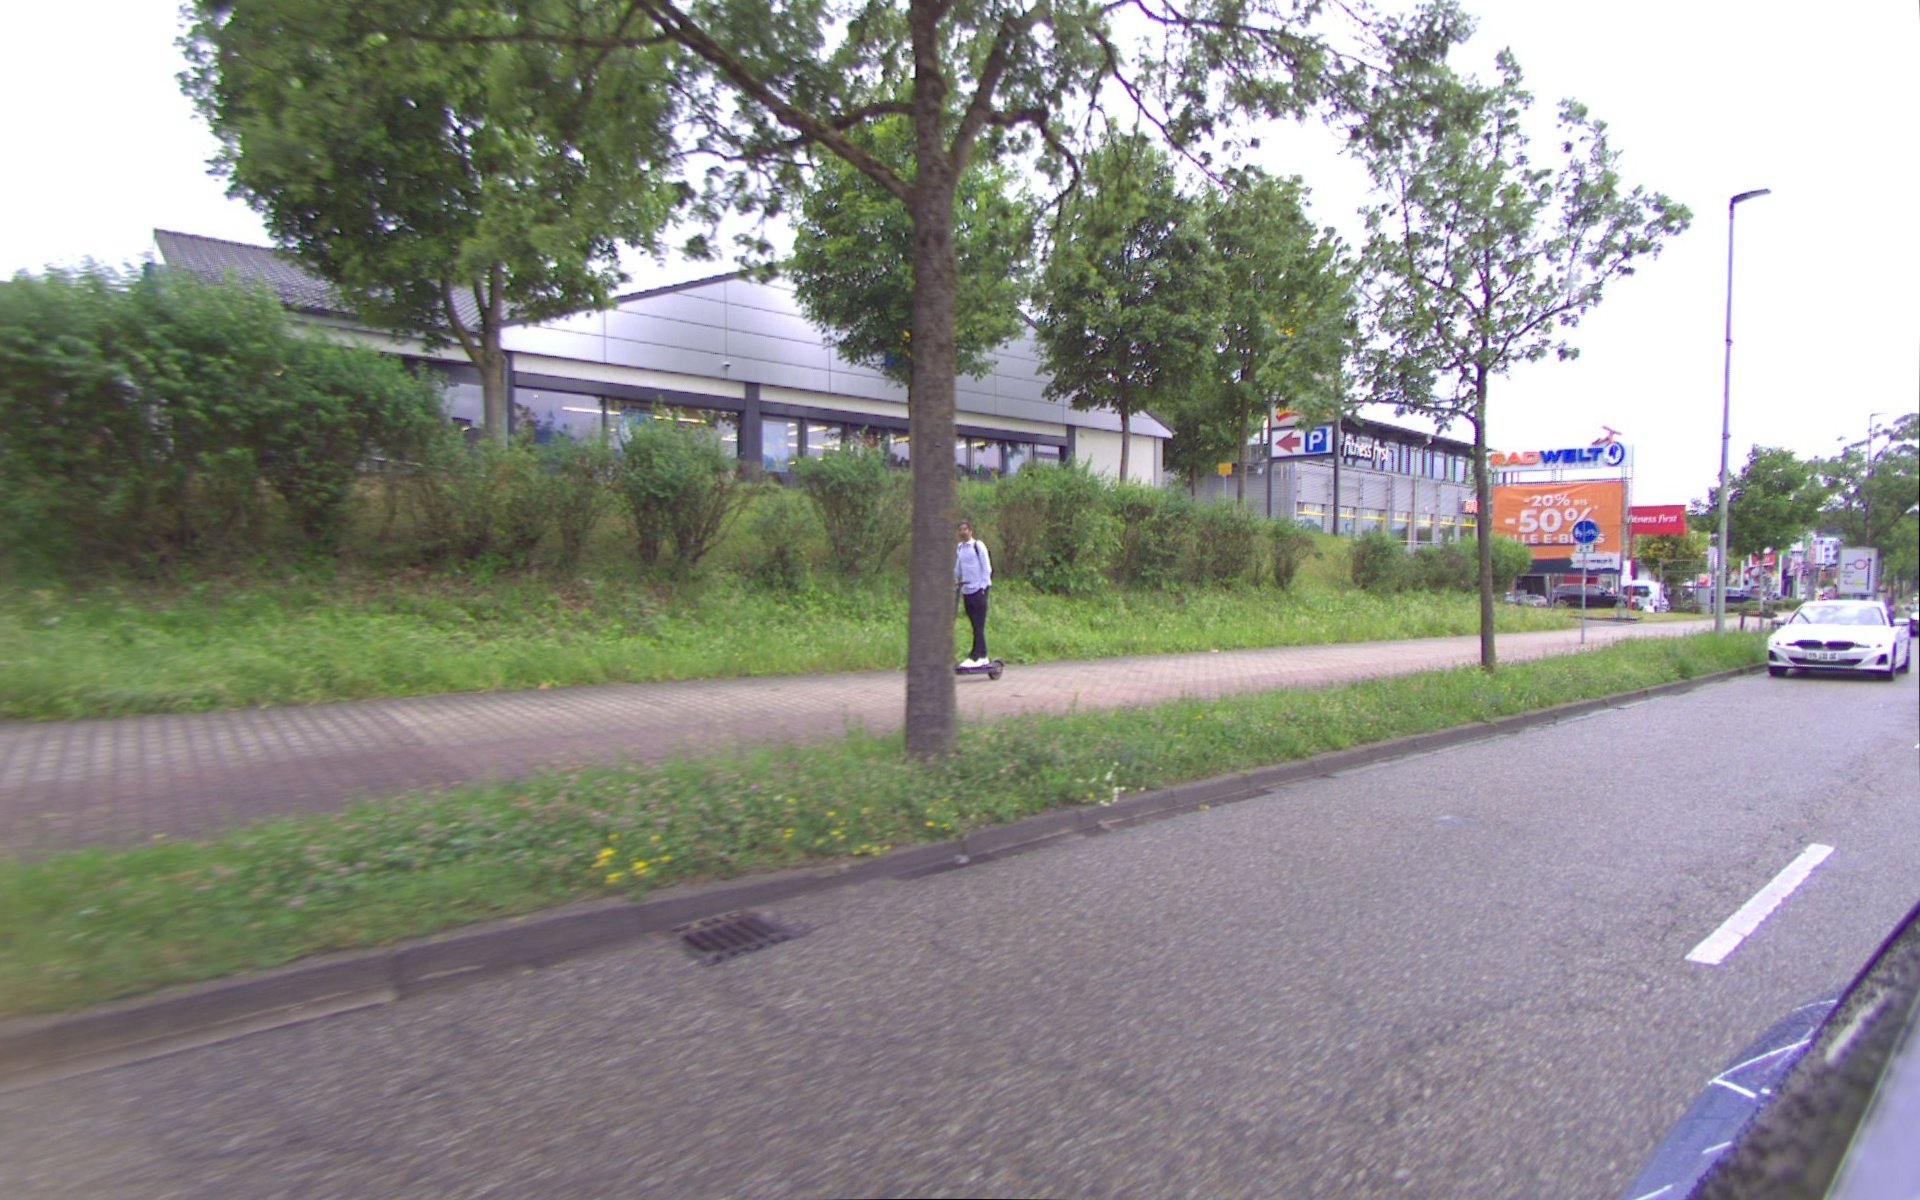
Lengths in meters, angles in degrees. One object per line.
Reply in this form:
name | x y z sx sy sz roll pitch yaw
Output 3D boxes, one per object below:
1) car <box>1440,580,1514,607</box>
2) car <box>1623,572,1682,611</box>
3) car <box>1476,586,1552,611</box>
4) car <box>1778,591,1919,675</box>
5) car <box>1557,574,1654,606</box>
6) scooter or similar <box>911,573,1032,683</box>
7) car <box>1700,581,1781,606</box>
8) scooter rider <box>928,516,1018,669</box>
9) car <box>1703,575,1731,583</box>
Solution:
car | 33.153 -0.407 64.967 3.806 1.521 1.737 2 0 6
car | 47.798 -0.551 69.799 5.585 2.569 2.229 0 -1 -43
car | 37.698 -0.080 68.918 4.181 1.489 1.739 2 0 2
car | 17.559 0.568 19.777 4.464 1.458 1.806 0 0 -42
car | 32.655 -0.525 51.285 4.074 1.457 1.775 2 0 33
scooter or similar | 0.151 0.314 12.754 1.376 1.279 0.697 -1 4 -39
car | 62.451 -0.509 81.038 1.889 1.620 4.675 1 4 -34
scooter rider | 0.160 -0.115 12.735 0.843 1.842 0.697 -1 4 -39
car | 141.320 -3.922 188.895 1.771 1.529 3.990 0 2 -45
